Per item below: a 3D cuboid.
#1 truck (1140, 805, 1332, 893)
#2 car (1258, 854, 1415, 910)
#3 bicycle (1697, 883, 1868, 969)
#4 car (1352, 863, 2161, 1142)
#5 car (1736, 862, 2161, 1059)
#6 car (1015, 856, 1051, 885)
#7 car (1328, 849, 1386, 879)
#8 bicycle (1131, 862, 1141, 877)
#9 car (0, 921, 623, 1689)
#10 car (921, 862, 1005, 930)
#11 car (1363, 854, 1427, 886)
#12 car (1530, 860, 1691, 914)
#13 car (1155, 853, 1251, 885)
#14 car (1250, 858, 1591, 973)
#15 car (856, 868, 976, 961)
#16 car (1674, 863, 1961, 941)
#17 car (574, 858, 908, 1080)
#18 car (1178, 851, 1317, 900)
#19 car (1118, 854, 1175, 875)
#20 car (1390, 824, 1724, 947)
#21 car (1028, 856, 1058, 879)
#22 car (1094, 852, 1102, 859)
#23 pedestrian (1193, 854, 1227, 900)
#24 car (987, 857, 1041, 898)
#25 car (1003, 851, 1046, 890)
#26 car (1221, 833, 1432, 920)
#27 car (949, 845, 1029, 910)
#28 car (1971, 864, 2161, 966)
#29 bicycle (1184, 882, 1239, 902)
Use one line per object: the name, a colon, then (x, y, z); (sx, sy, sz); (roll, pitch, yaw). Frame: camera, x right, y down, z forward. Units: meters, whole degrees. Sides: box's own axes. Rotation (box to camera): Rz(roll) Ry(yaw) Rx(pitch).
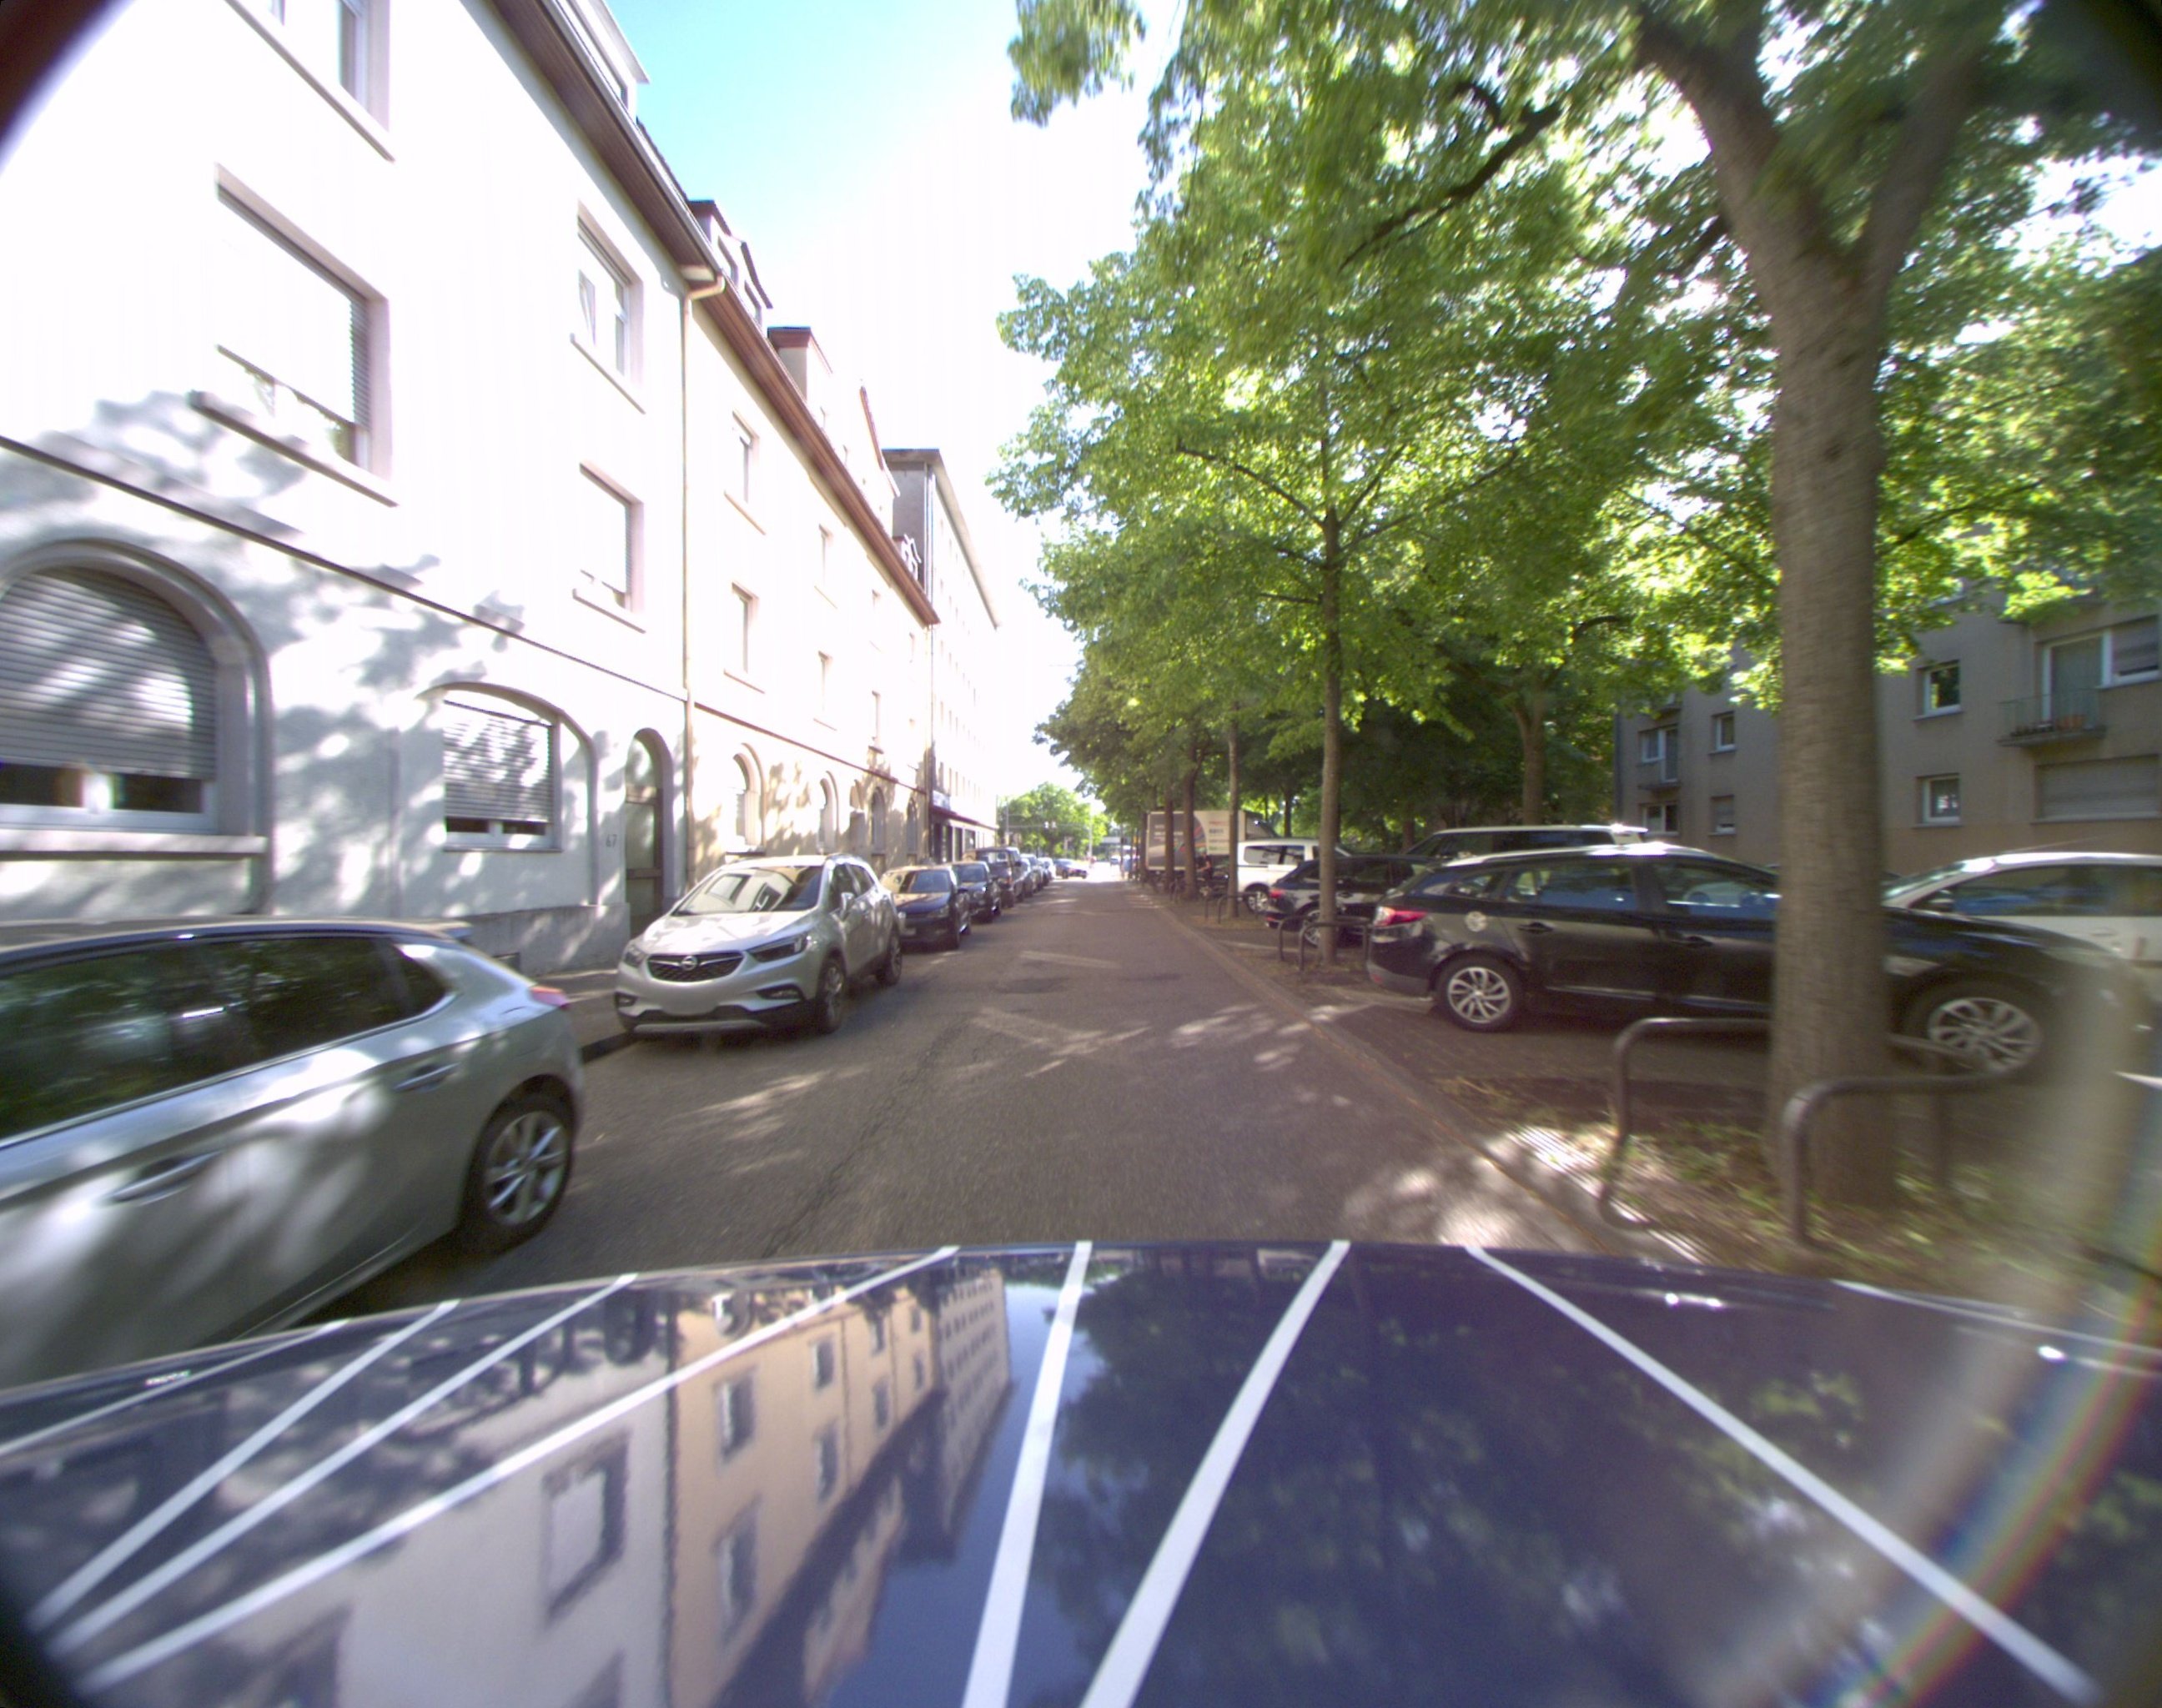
truck: (6.272, -0.202, 31.289); (7.304, 3.274, 2.552); (0, 0, 32)
car: (7.026, 0.730, 21.013); (3.791, 1.398, 1.627); (-1, 1, 34)
bicycle: (8.947, 0.877, 9.798); (0.437, 0.934, 1.766); (-2, 0, -5)
car: (4.607, 0.825, 5.915); (4.411, 1.453, 1.719); (0, 1, 33)
car: (8.271, 0.816, 6.740); (3.623, 1.447, 1.822); (0, 0, 37)
car: (-2.591, 0.874, 41.073); (1.807, 1.455, 4.438); (0, 0, -4)
car: (15.899, 0.557, 44.009); (1.758, 1.630, 4.246); (0, 0, -1)
bicycle: (3.969, 1.121, 54.834); (0.354, 1.066, 1.591); (0, 0, -10)
car: (-3.144, 1.052, 1.664); (1.727, 1.424, 4.158); (0, 0, 0)
car: (-2.874, 0.977, 19.162); (1.626, 1.489, 3.594); (0, 0, -2)
car: (16.151, 0.787, 39.265); (1.758, 1.560, 3.949); (0, 0, 1)
car: (15.544, 0.894, 22.653); (1.622, 1.398, 4.534); (0, 0, 0)
car: (6.049, 0.737, 37.853); (4.331, 1.498, 1.817); (0, 0, 34)
car: (5.038, 0.791, 11.560); (4.477, 1.447, 1.791); (0, 0, 32)
car: (-2.895, 1.003, 14.020); (1.553, 1.386, 3.860); (0, 0, -3)
car: (15.694, 0.930, 16.646); (1.732, 1.385, 4.616); (1, 0, -1)
car: (-3.094, 0.902, 7.962); (1.727, 1.676, 4.157); (0, 0, -2)
car: (5.436, 0.677, 24.985); (4.097, 1.497, 1.736); (-1, 1, 32)
car: (5.538, 0.850, 64.586); (4.484, 1.765, 1.873); (0, 0, -7)
car: (8.014, 0.441, 13.279); (4.593, 1.821, 2.022); (1, 1, 30)
car: (-2.540, 0.898, 51.804); (1.723, 1.488, 4.023); (0, 0, 2)
car: (4.387, 0.379, 195.387); (1.999, 1.543, 4.484); (0, 0, 0)
pedestrian: (4.030, 0.697, 23.669); (0.751, 1.388, 0.930); (0, 1, 32)
car: (-2.614, 0.865, 30.338); (1.766, 1.491, 4.238); (0, 0, 0)
car: (-2.588, 0.732, 35.904); (1.766, 1.743, 4.509); (0, 0, -1)
car: (5.845, 0.502, 18.109); (4.512, 1.854, 2.085); (-1, 1, 26)
car: (-2.878, 0.690, 24.859); (1.953, 1.889, 4.845); (0, 0, 1)
car: (16.085, 0.879, 10.922); (1.896, 1.379, 4.000); (1, 0, 1)
bicycle: (3.997, 1.157, 23.283); (1.610, 0.555, 0.410); (0, 0, 32)
